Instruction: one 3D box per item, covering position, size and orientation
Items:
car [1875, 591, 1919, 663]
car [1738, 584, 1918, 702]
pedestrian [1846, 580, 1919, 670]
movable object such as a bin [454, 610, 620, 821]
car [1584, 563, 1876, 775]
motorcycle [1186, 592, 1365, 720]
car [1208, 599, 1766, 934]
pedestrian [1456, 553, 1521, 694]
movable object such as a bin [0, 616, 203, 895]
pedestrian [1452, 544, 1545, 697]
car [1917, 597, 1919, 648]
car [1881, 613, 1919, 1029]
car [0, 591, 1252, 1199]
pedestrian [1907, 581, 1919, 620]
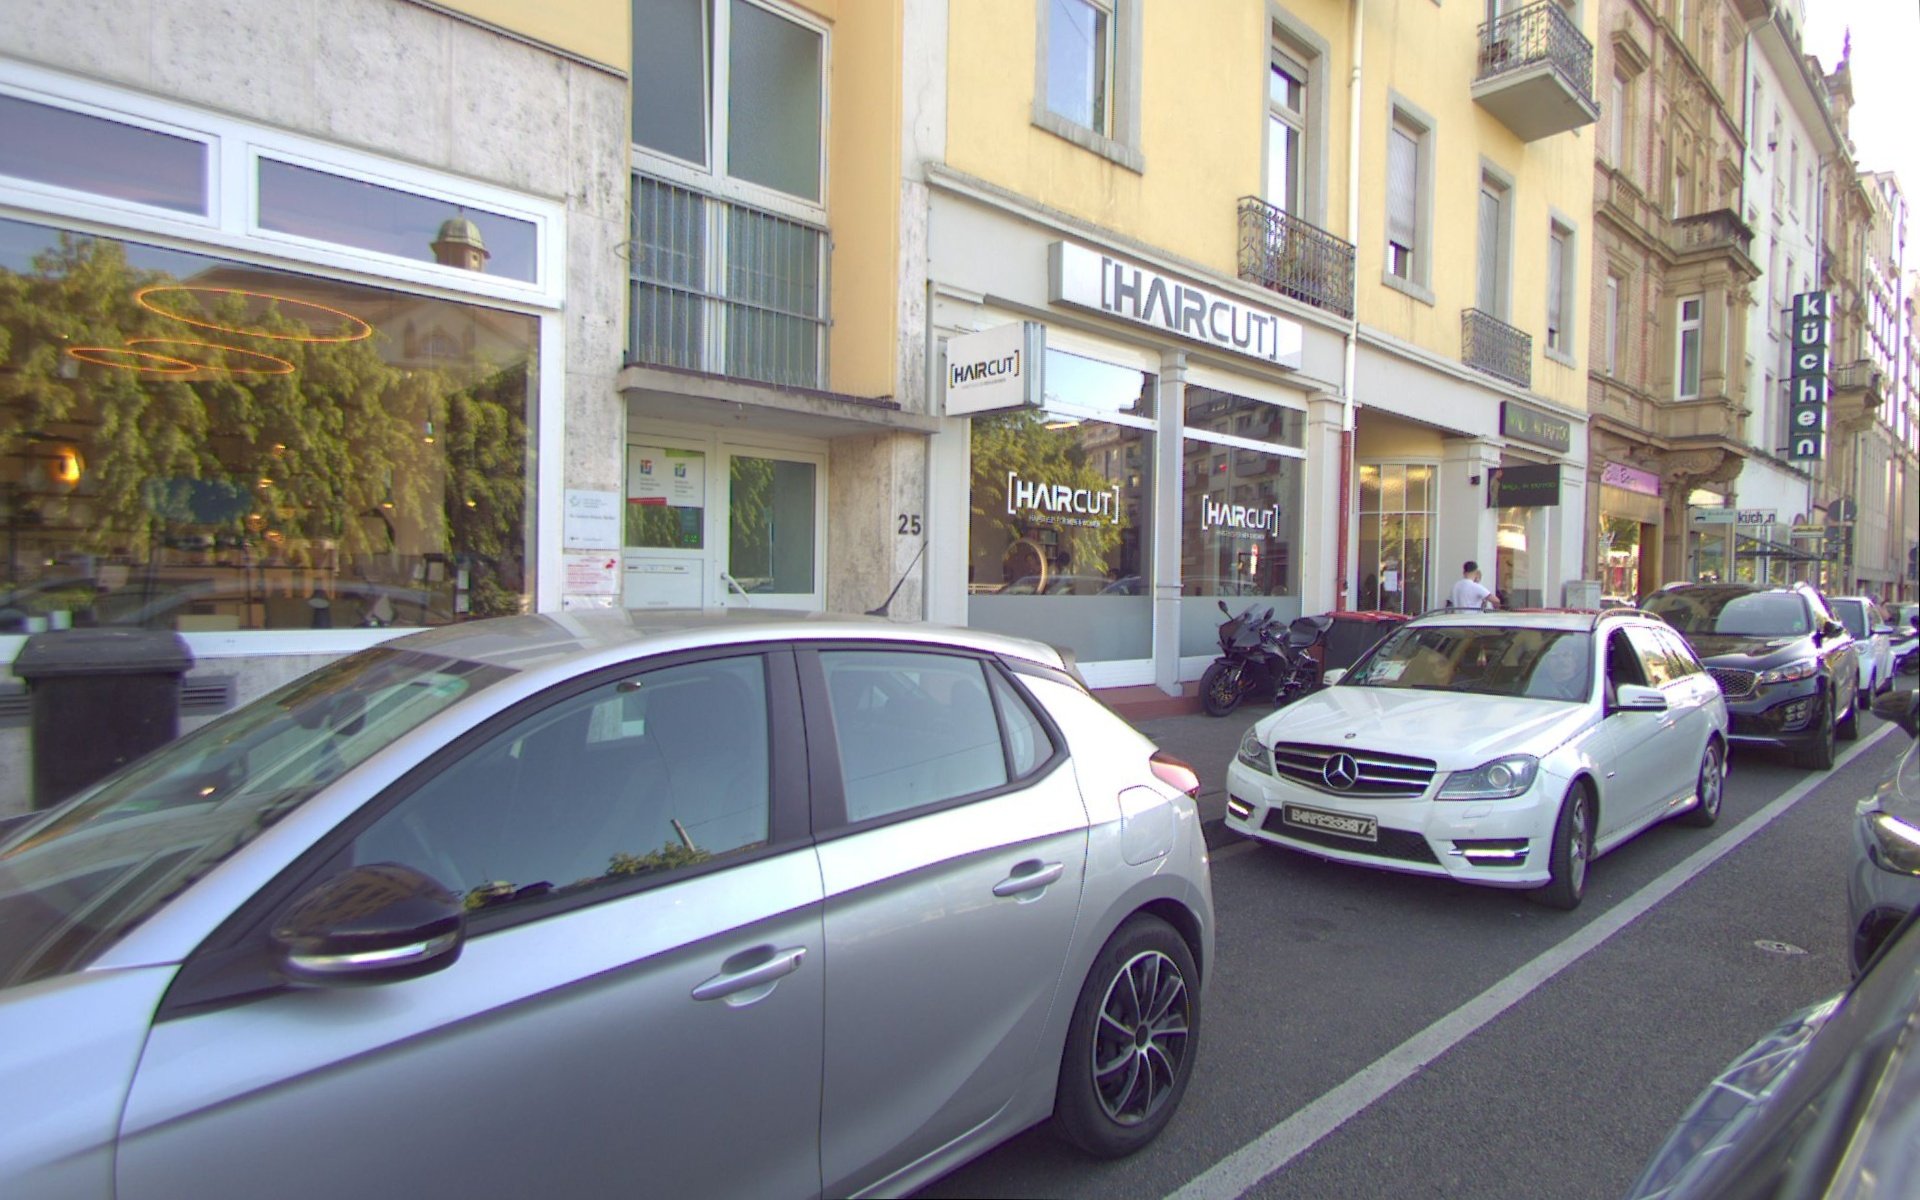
[{"bbox_3d":[21.905,0.569,22.811,3.736,1.509,1.691,-1,0,-45],"label":"car"},{"bbox_3d":[12.777,0.549,14.855,2.945,1.542,1.582,-1,0,-41],"label":"car"},{"bbox_3d":[18.269,0.488,19.988,0.805,1.741,0.837,0,0,4],"label":"pedestrian"},{"bbox_3d":[-2.321,0.582,5.540,0.639,1.036,0.737,0,0,-41],"label":"movable object such as a bin"},{"bbox_3d":[8.015,0.532,10.369,4.338,1.711,1.802,-1,0,-45],"label":"car"},{"bbox_3d":[3.307,0.524,10.507,2.073,1.144,0.735,-1,5,-41],"label":"motorcycle"},{"bbox_3d":[3.538,0.710,6.390,4.301,1.389,1.671,-1,0,-41],"label":"car"},{"bbox_3d":[7.246,0.302,13.877,0.627,1.859,0.760,0,0,41],"label":"pedestrian"},{"bbox_3d":[-3.668,0.600,4.326,0.639,1.036,0.737,0,0,-41],"label":"movable object such as a bin"},{"bbox_3d":[6.877,0.255,12.953,0.961,1.900,0.532,0,0,18],"label":"pedestrian"},{"bbox_3d":[26.616,0.577,26.929,3.306,1.334,1.459,-1,0,-42],"label":"car"},{"bbox_3d":[5.403,0.752,4.379,4.397,1.385,1.767,-1,1,-43],"label":"car"},{"bbox_3d":[-1.001,0.716,2.310,3.625,1.455,1.585,-1,0,-43],"label":"car"},{"bbox_3d":[43.700,0.030,46.028,0.809,1.782,0.825,0,0,-42],"label":"pedestrian"}]
